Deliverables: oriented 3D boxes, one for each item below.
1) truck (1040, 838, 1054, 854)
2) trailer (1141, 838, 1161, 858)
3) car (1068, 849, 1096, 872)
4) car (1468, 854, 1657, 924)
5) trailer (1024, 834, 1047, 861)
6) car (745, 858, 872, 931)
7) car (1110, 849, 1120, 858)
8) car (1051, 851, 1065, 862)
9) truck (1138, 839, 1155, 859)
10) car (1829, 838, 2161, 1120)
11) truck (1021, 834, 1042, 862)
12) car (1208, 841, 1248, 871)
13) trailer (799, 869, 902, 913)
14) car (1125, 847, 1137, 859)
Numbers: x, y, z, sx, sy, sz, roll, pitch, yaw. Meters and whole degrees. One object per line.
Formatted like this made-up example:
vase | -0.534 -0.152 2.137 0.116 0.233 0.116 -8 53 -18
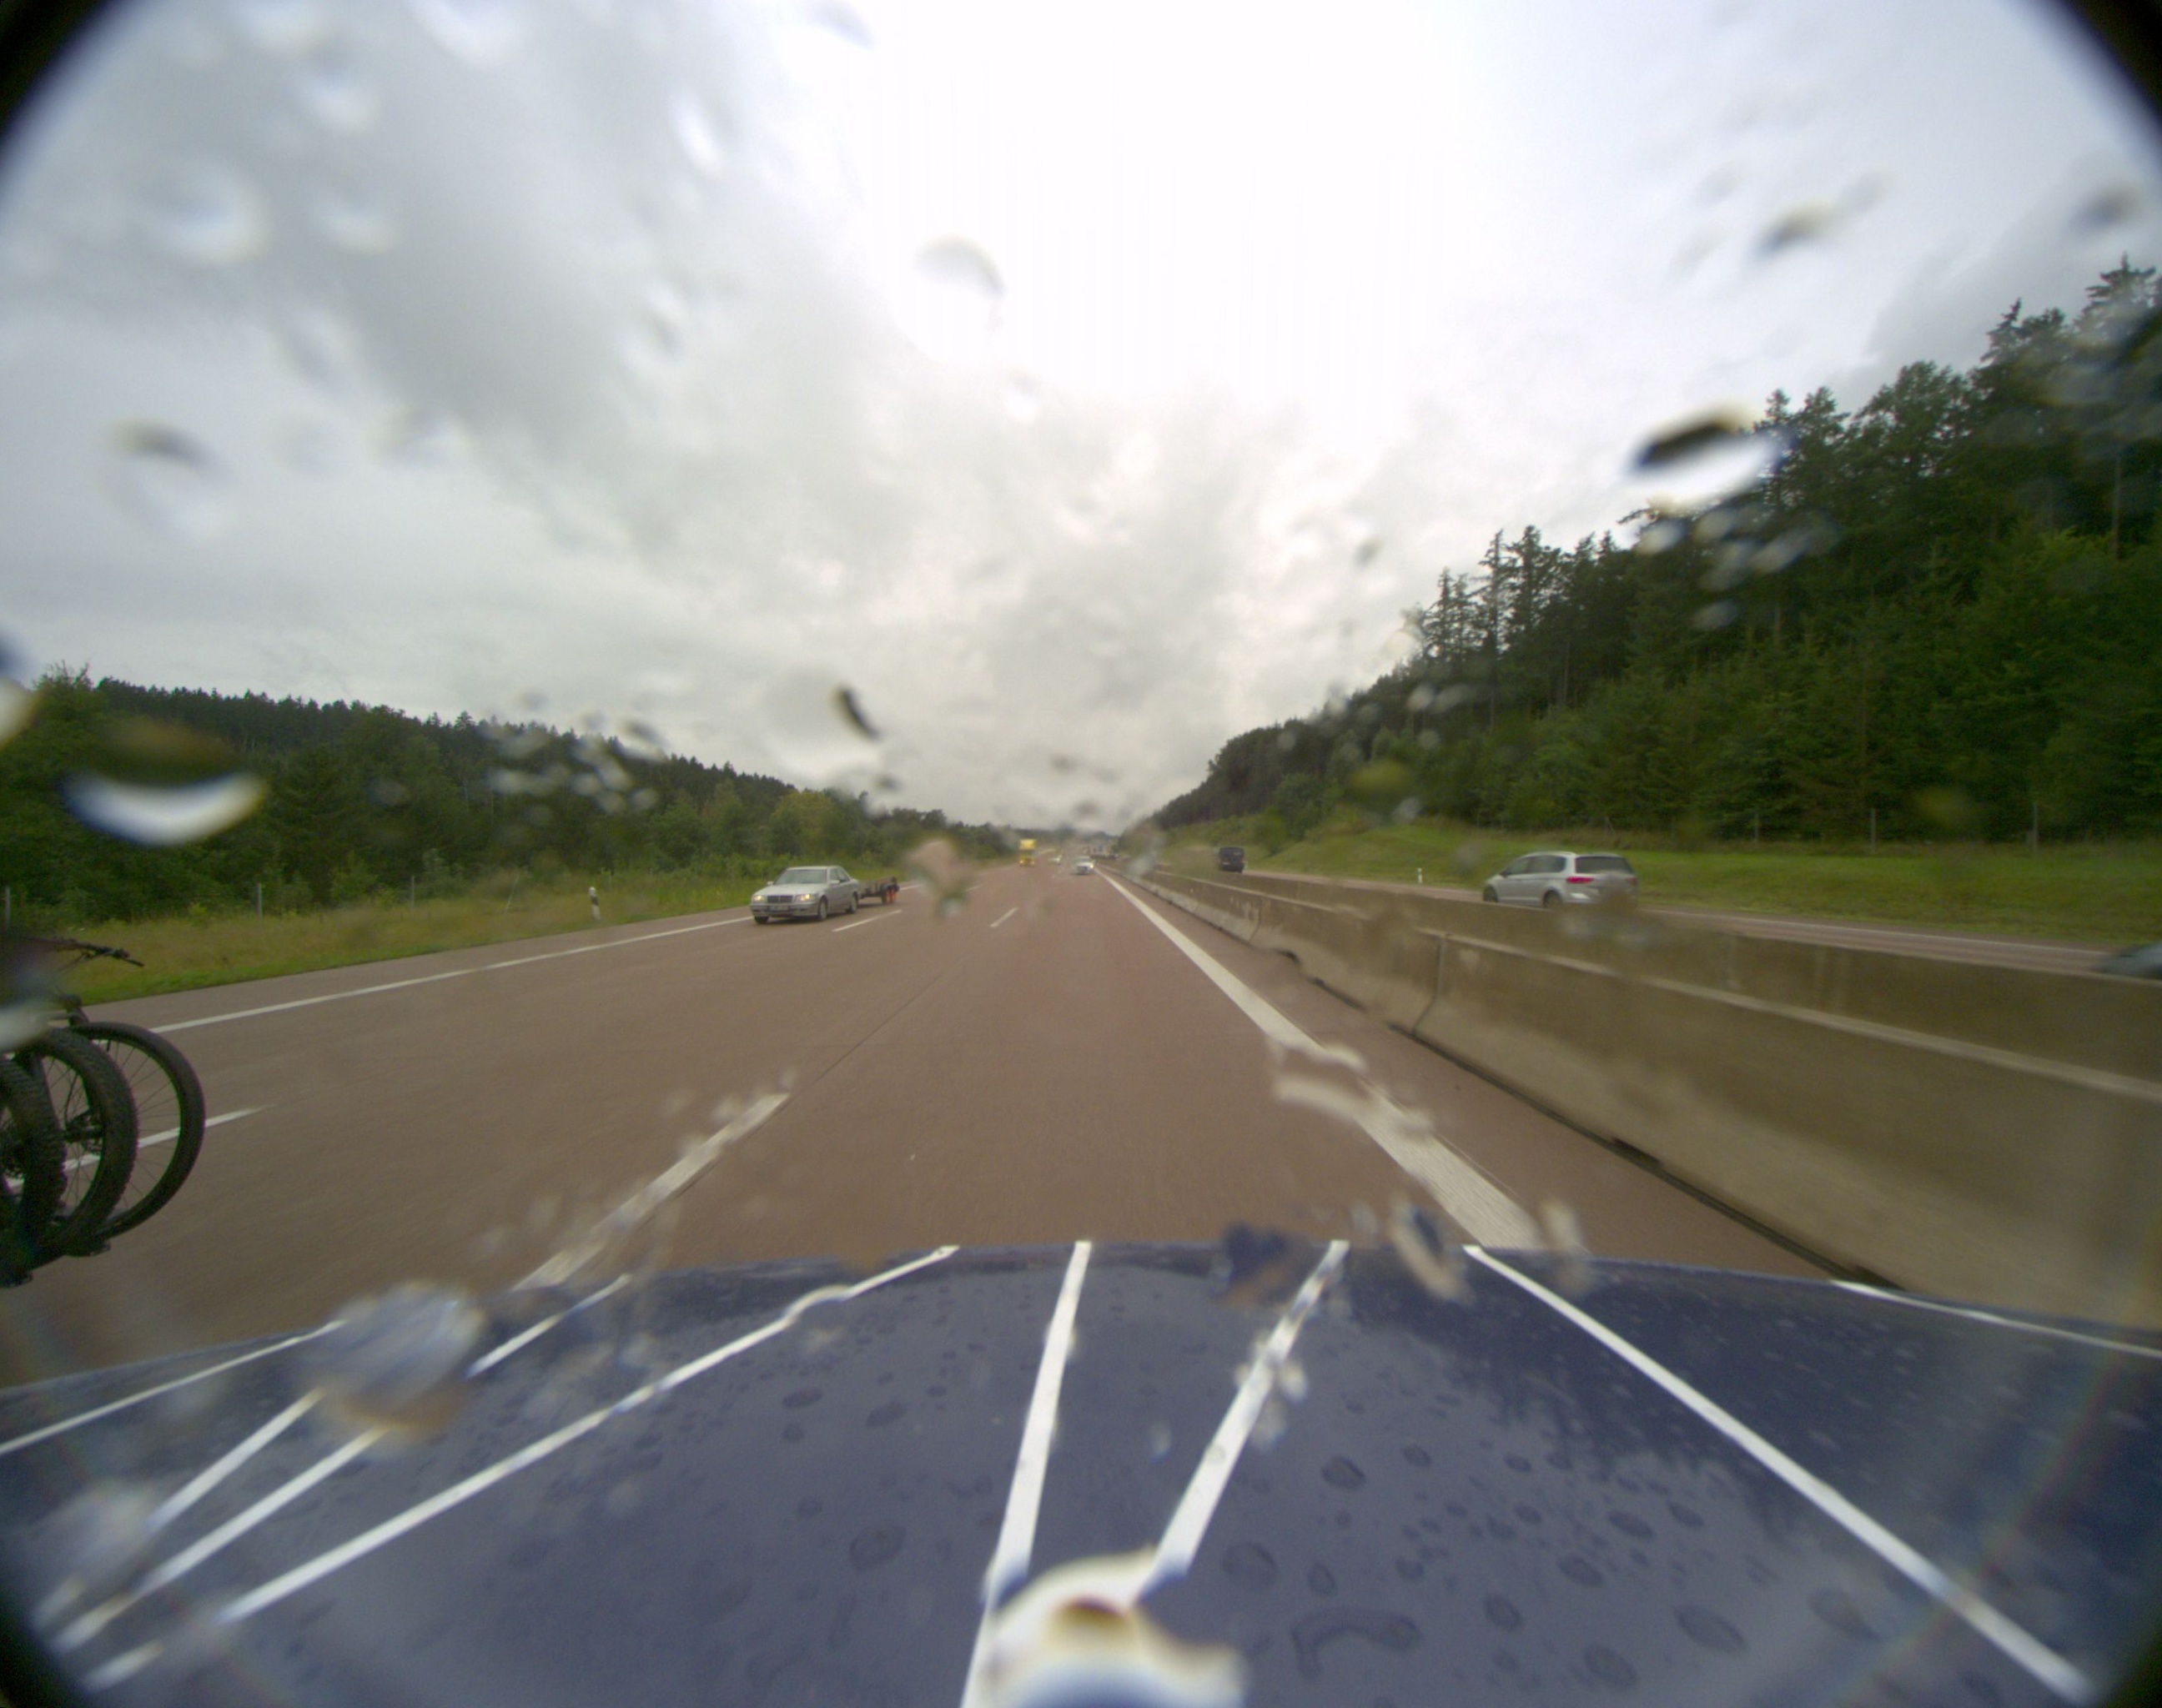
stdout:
truck | -9.775 -2.384 219.097 3.190 4.349 14.700 -2 2 0
trailer | 15.454 -1.240 168.601 2.941 4.250 12.943 3 0 -1
car | 0.102 0.474 59.784 1.998 1.623 4.930 -2 2 0
car | 12.229 0.794 19.773 1.793 1.548 4.865 1 1 0
trailer | -7.451 -1.159 125.863 2.572 4.205 14.076 -2 2 0
car | -7.304 0.997 20.976 1.702 1.602 4.975 -1 1 0
car | 7.657 -0.132 170.938 1.823 1.831 6.235 -2 2 -1
car | -3.785 0.380 126.460 1.998 1.623 4.930 -2 2 0
truck | 15.301 -1.144 176.751 2.972 4.295 7.648 3 0 -1
car | 7.723 0.820 3.814 1.862 1.697 6.162 -2 2 0
truck | -7.500 -0.962 116.879 2.610 4.190 6.248 -2 2 0
car | 12.040 0.082 62.707 2.108 2.266 5.394 -2 2 -1
trailer | -7.527 1.167 25.338 1.976 1.159 4.639 -2 0 0
car | 8.574 -0.253 130.611 1.781 1.846 5.320 -2 2 1
